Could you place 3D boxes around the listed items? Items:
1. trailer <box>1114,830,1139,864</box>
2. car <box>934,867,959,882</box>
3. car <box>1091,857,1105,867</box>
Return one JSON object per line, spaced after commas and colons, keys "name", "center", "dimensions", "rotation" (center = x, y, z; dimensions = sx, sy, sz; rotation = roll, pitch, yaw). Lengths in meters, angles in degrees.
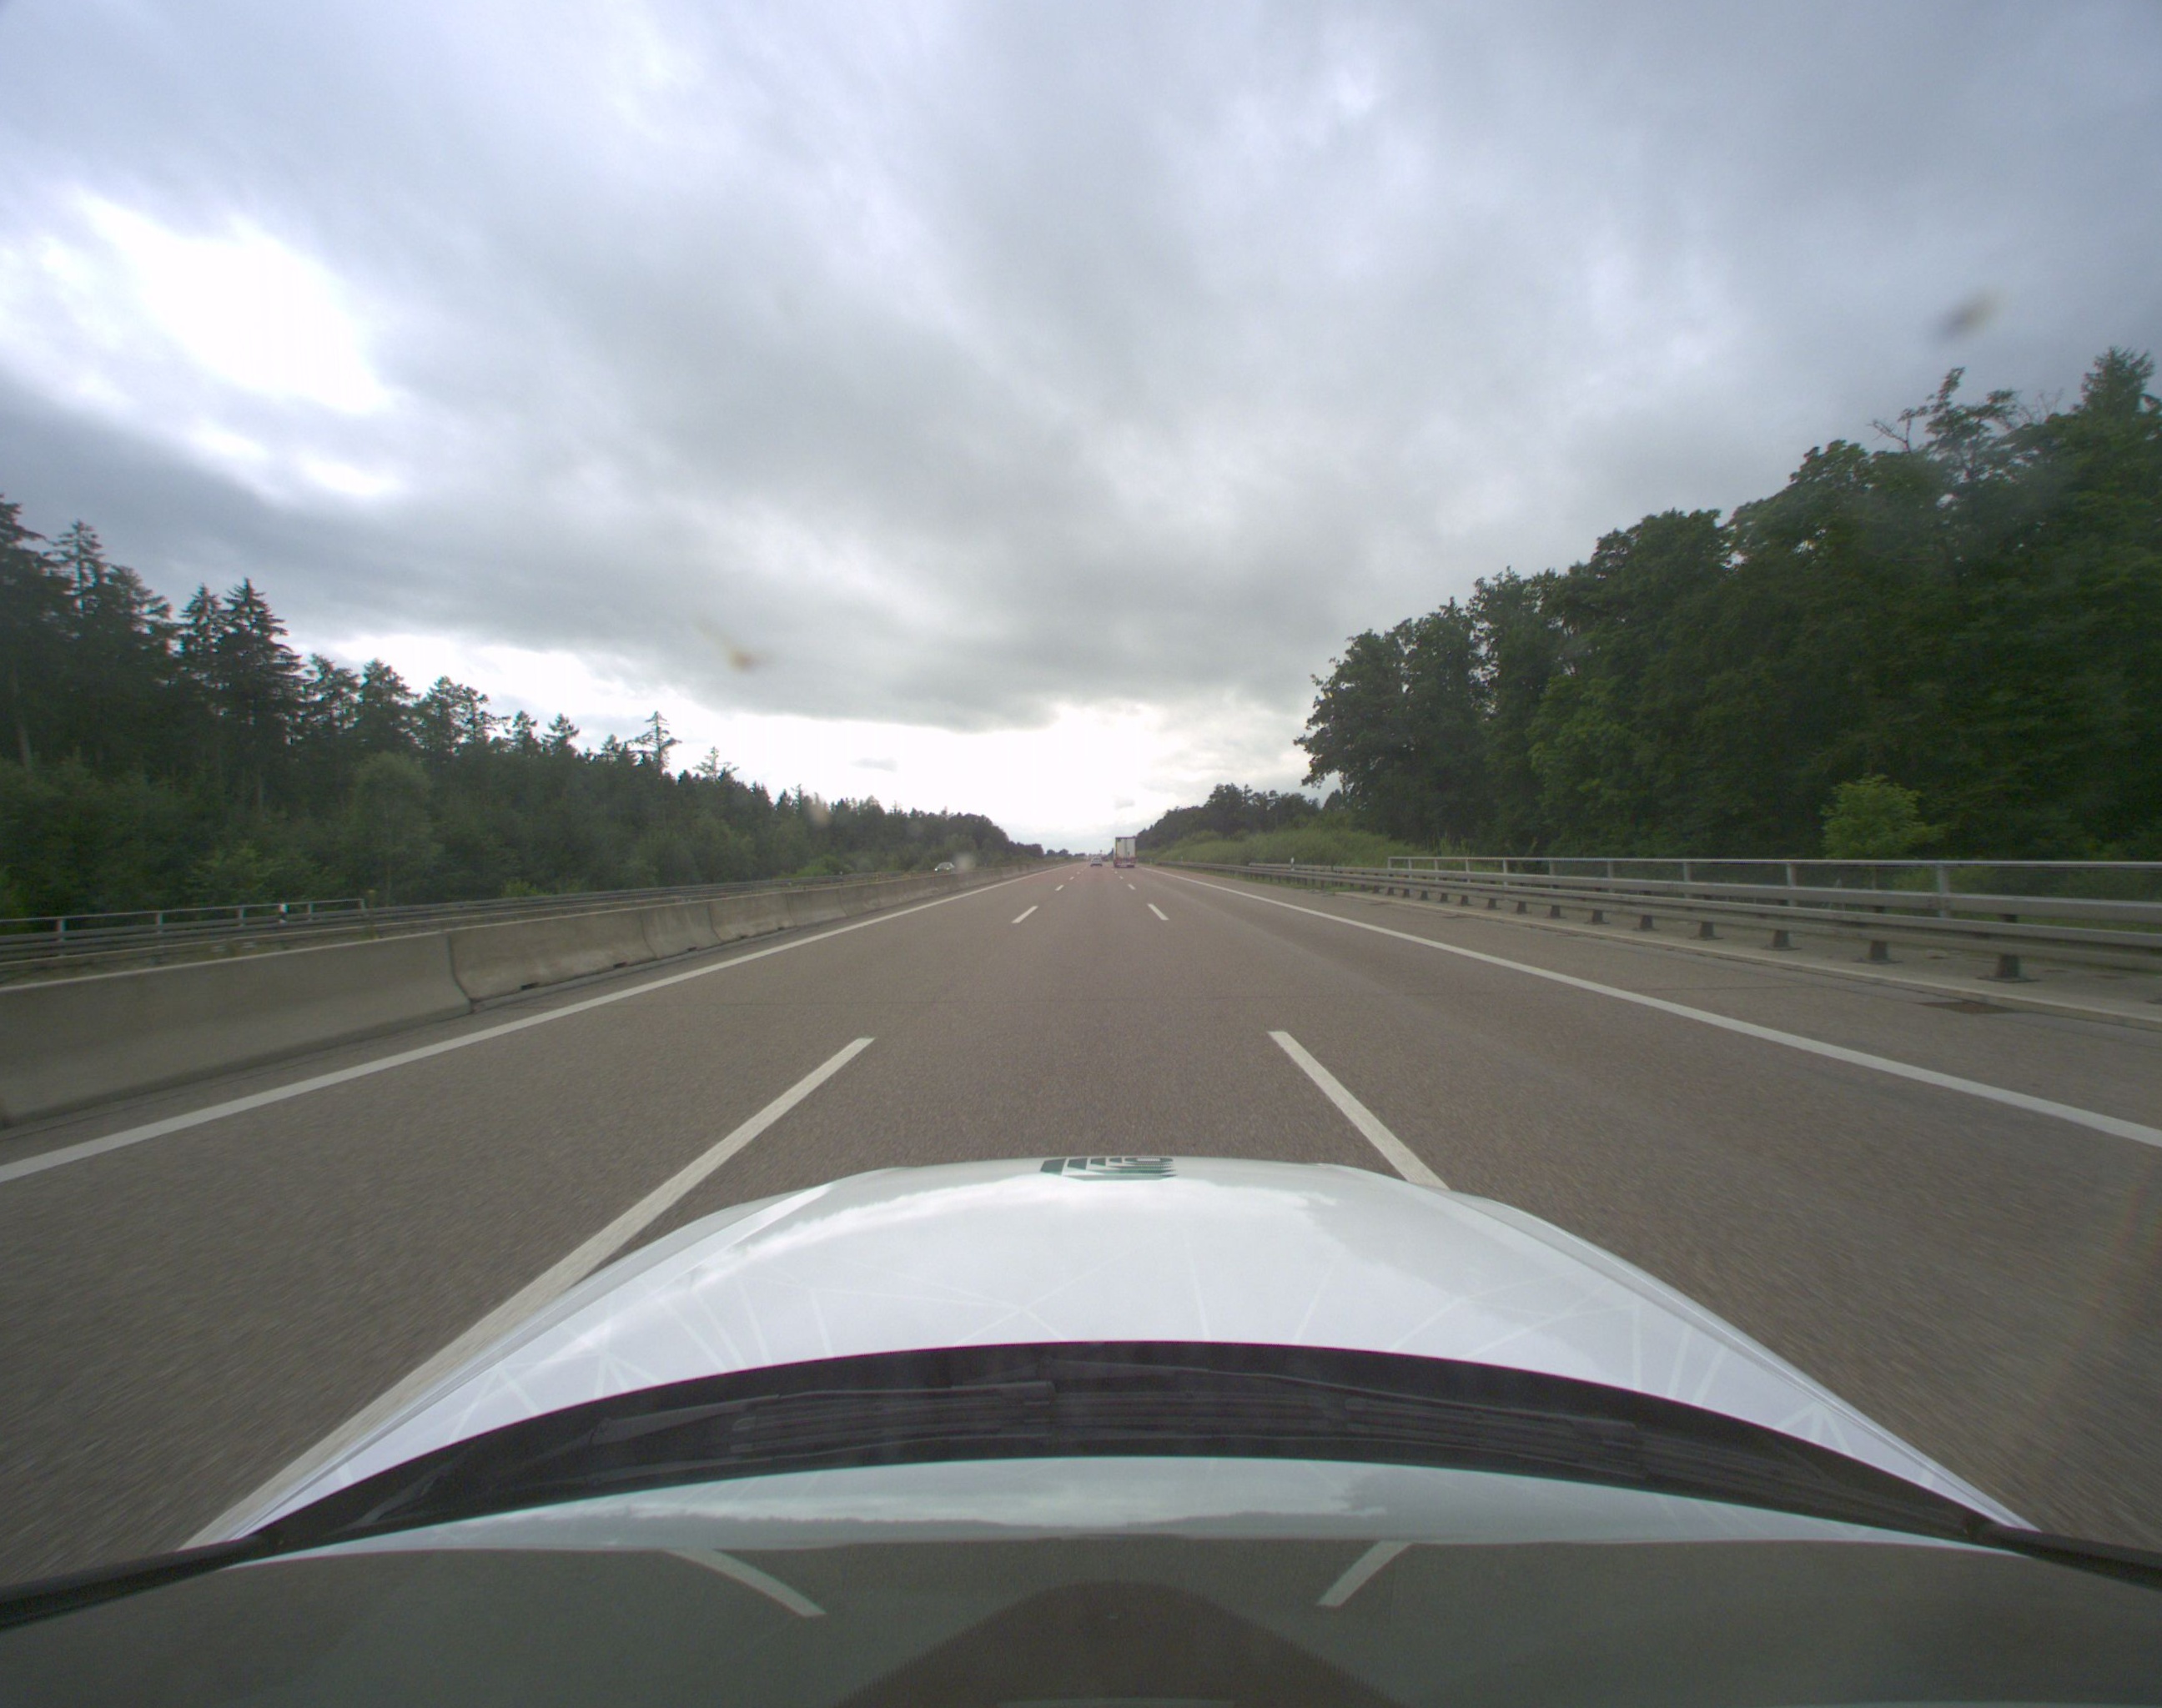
{"name": "trailer", "center": [6.050, -0.796, 110.218], "dimensions": [2.911, 4.294, 13.616], "rotation": [-1, -1, 1]}
{"name": "car", "center": [-16.794, 2.532, 101.725], "dimensions": [2.116, 1.591, 5.198], "rotation": [-2, 0, 1]}
{"name": "car", "center": [2.698, 1.253, 129.168], "dimensions": [2.155, 1.451, 4.722], "rotation": [0, 0, 3]}
